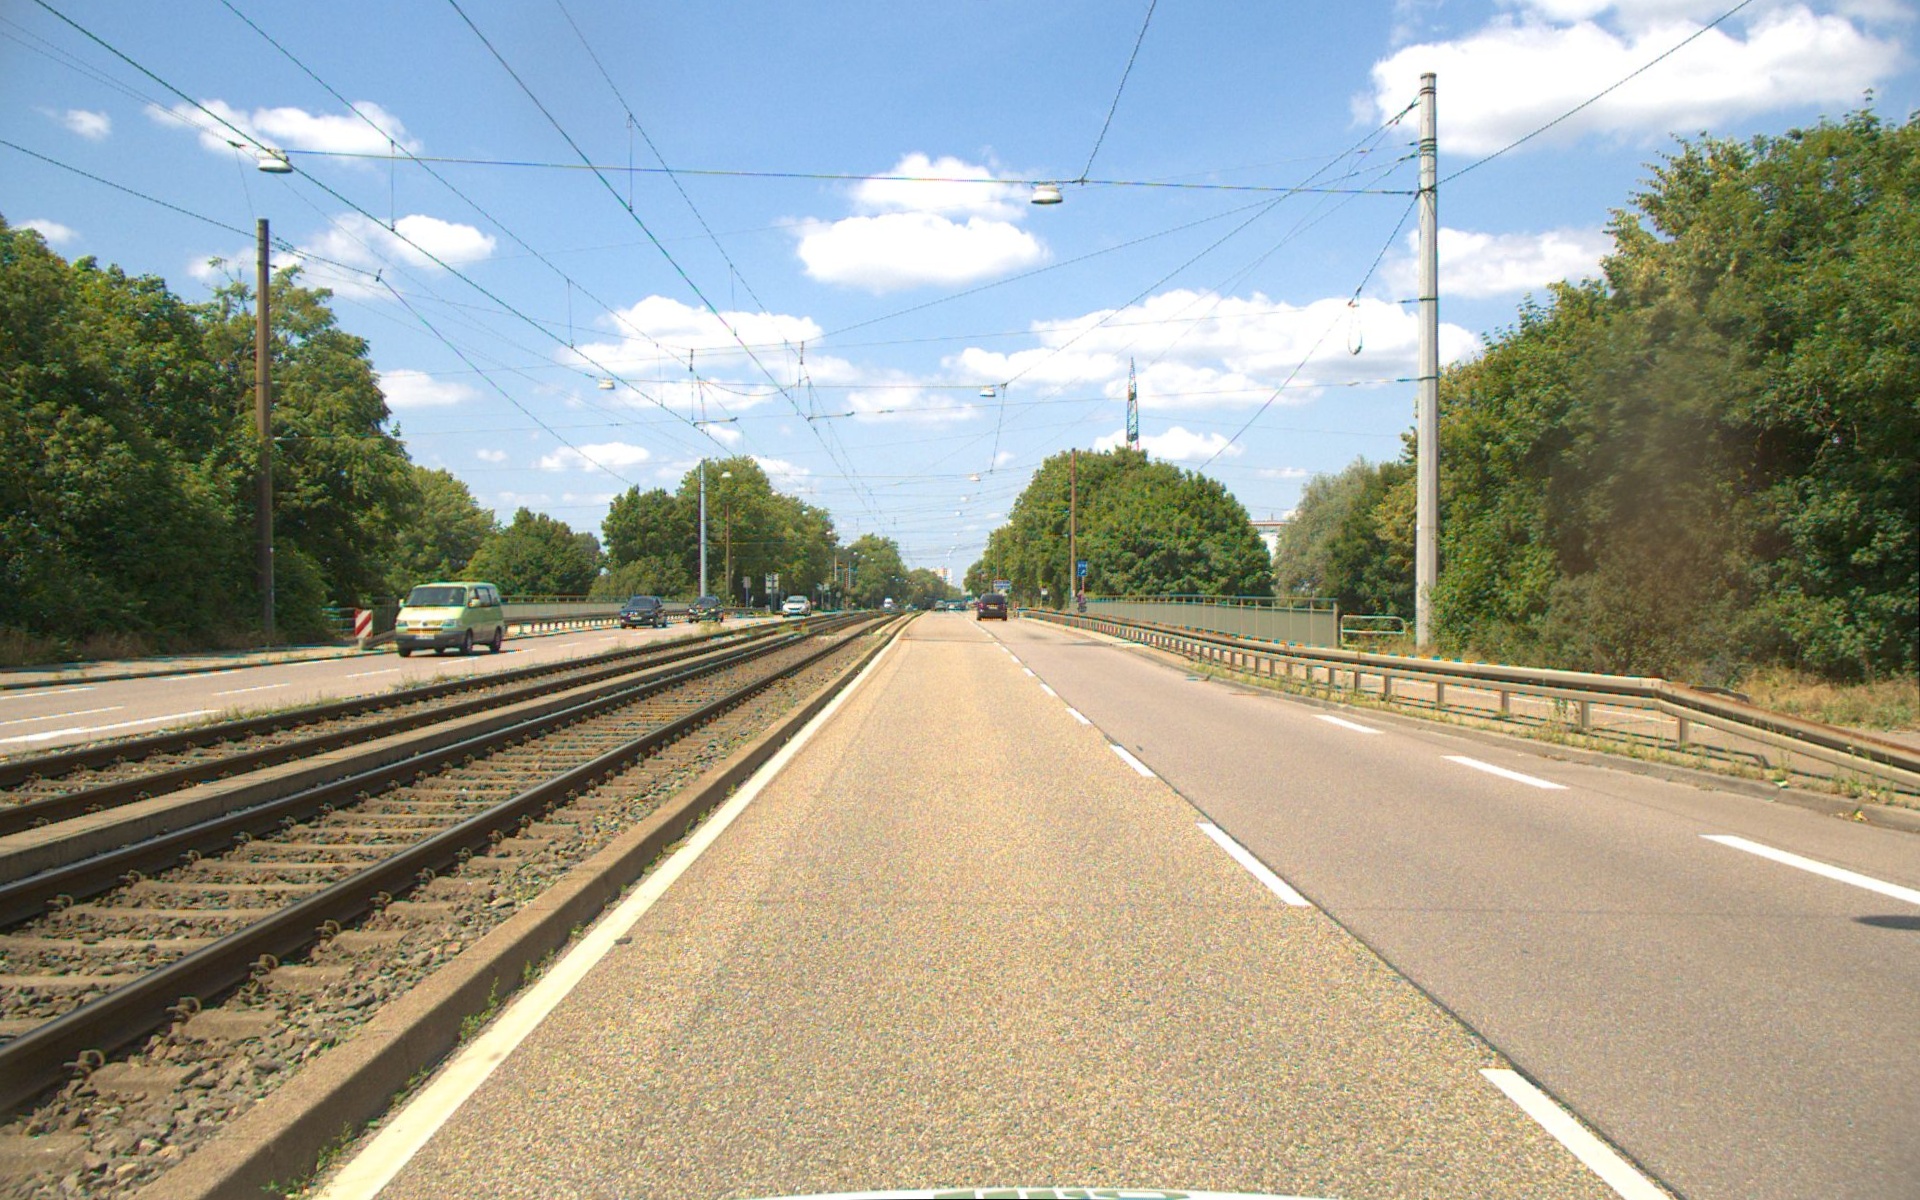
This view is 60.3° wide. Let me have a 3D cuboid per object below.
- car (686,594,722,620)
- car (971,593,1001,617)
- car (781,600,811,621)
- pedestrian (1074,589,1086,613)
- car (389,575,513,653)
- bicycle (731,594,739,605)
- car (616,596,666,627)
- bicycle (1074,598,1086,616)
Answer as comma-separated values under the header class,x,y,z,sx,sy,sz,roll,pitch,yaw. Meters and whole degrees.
class,x,y,z,sx,sy,sz,roll,pitch,yaw
car,-14.624,0.401,94.606,1.542,1.424,3.937,0,0,-1
car,1.531,0.298,97.941,1.554,1.366,3.271,0,0,-2
car,-11.583,0.739,116.804,1.676,1.445,4.623,-1,0,0
pedestrian,7.115,0.045,98.038,0.615,1.398,1.050,0,-1,-1
car,-13.645,0.369,44.668,1.774,1.959,5.178,-1,0,0
bicycle,-19.115,-0.046,140.563,0.512,0.858,2.035,2,0,-3
car,-14.501,0.509,75.364,1.531,1.371,3.928,-1,0,0
bicycle,7.113,0.442,98.062,0.548,1.042,1.847,0,-1,-1
